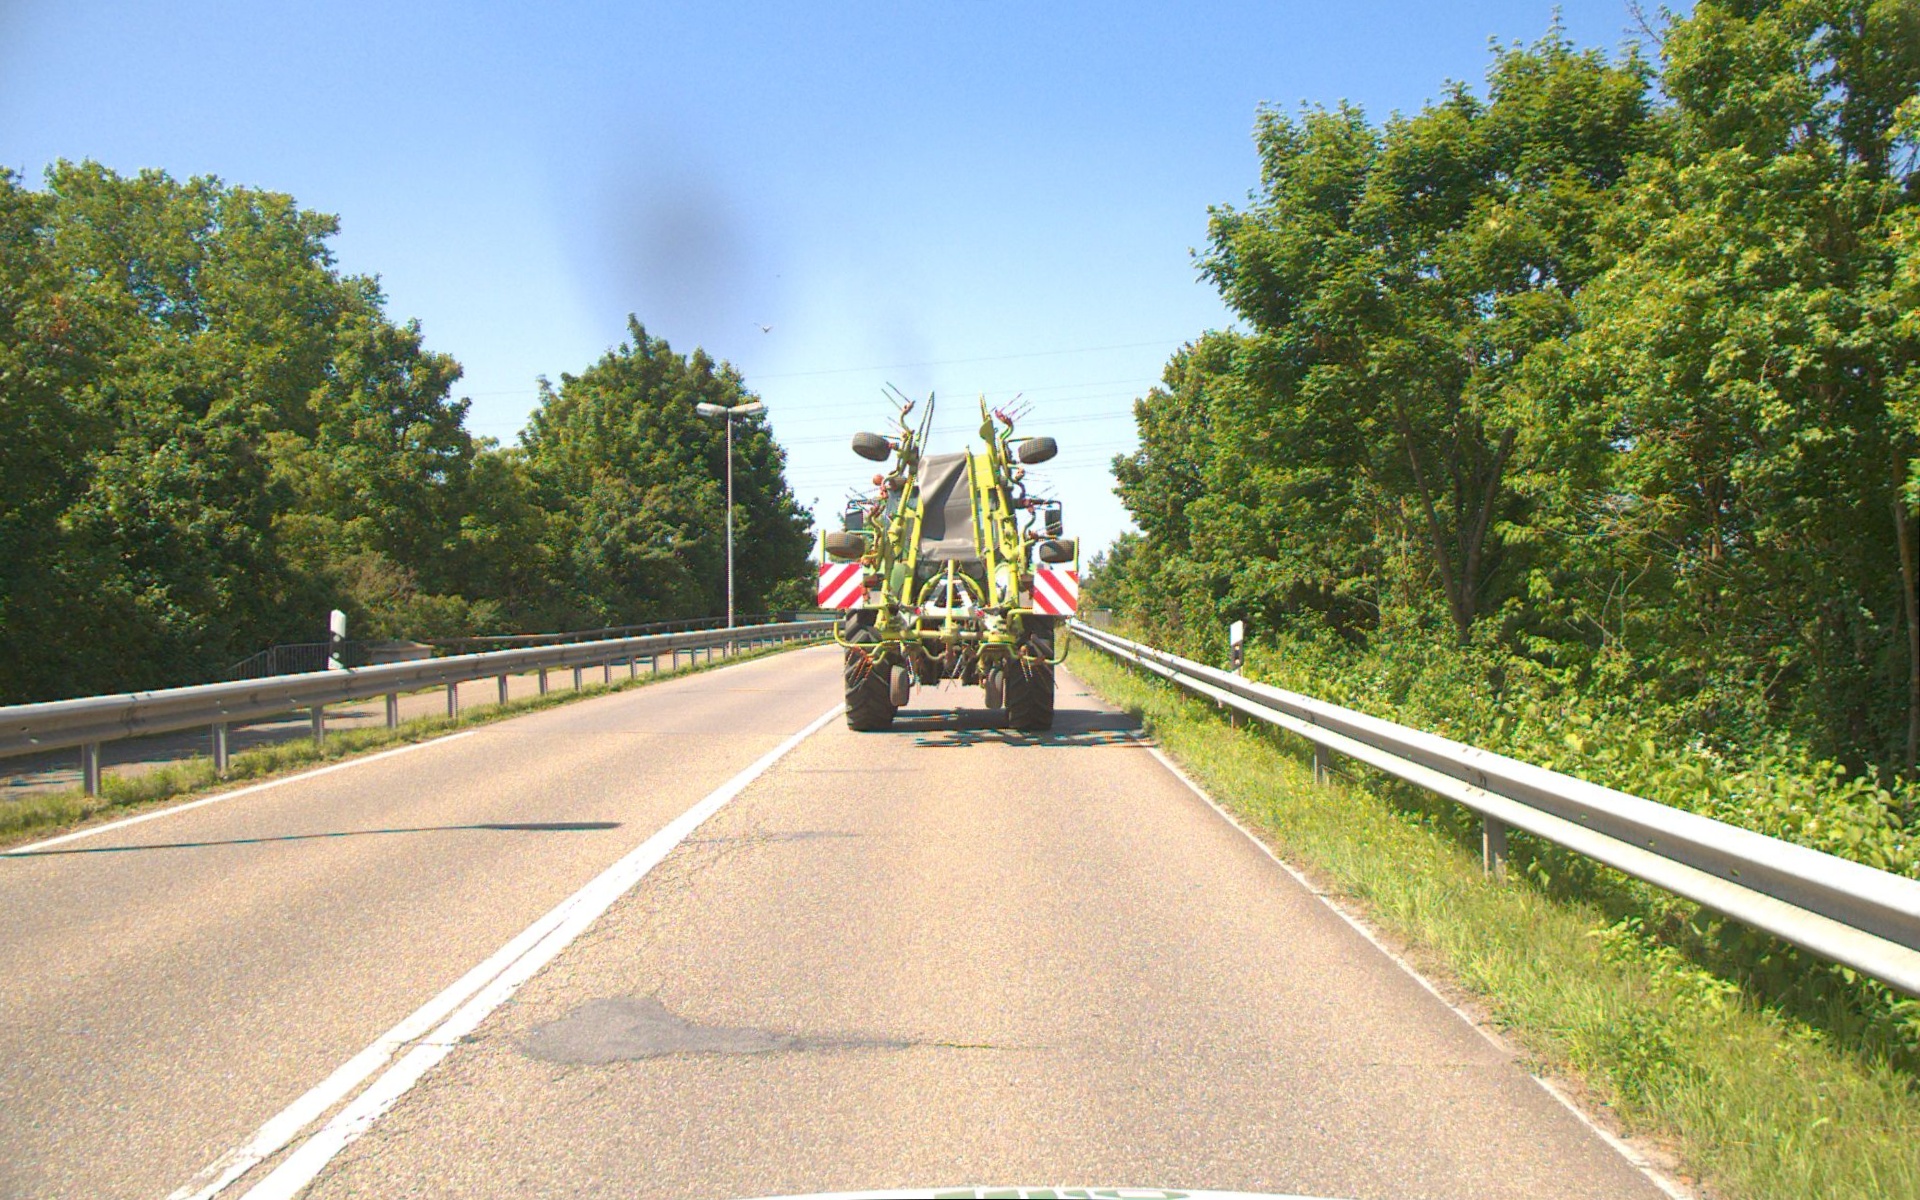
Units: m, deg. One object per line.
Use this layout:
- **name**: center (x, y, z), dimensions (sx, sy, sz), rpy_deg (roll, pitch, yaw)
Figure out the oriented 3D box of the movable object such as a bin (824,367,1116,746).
- **movable object such as a bin**: center (-0.032, -0.413, 18.170), dimensions (2.700, 3.504, 5.667), rpy_deg (0, 0, -3)
